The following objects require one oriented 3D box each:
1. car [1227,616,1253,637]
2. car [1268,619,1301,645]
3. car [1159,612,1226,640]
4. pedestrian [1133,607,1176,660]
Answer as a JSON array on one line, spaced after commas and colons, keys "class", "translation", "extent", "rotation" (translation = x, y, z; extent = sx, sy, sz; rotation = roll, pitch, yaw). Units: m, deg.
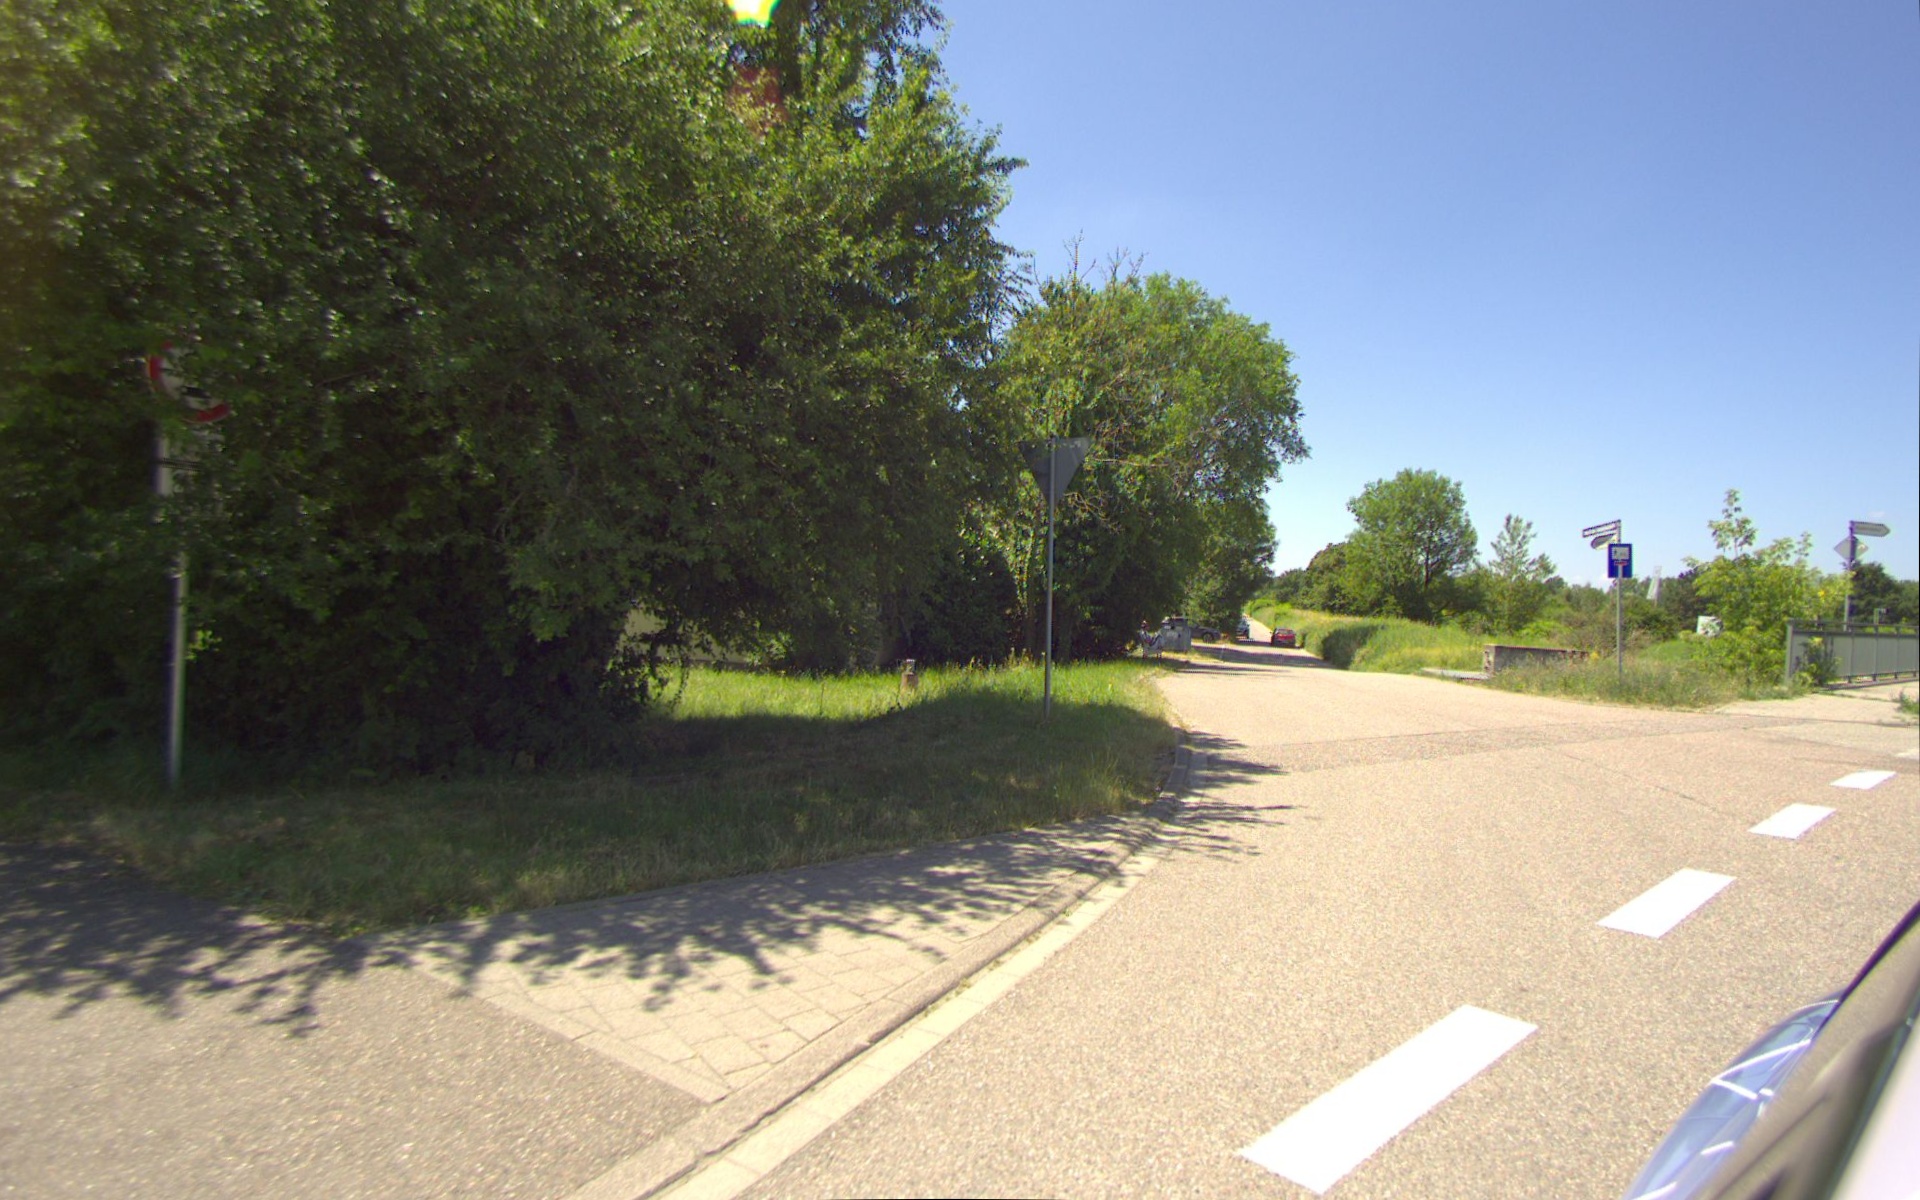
[{"class": "car", "translation": [24.580, 2.310, 88.823], "extent": [1.971, 1.644, 4.492], "rotation": [4, 1, 14]}, {"class": "car", "translation": [23.889, 2.323, 74.596], "extent": [1.971, 1.644, 4.492], "rotation": [4, 1, 14]}, {"class": "car", "translation": [16.524, 1.843, 71.935], "extent": [4.448, 1.644, 1.991], "rotation": [4, 0, 14]}, {"class": "pedestrian", "translation": [5.650, 0.971, 29.402], "extent": [0.832, 1.410, 0.684], "rotation": [6, 1, -26]}]
